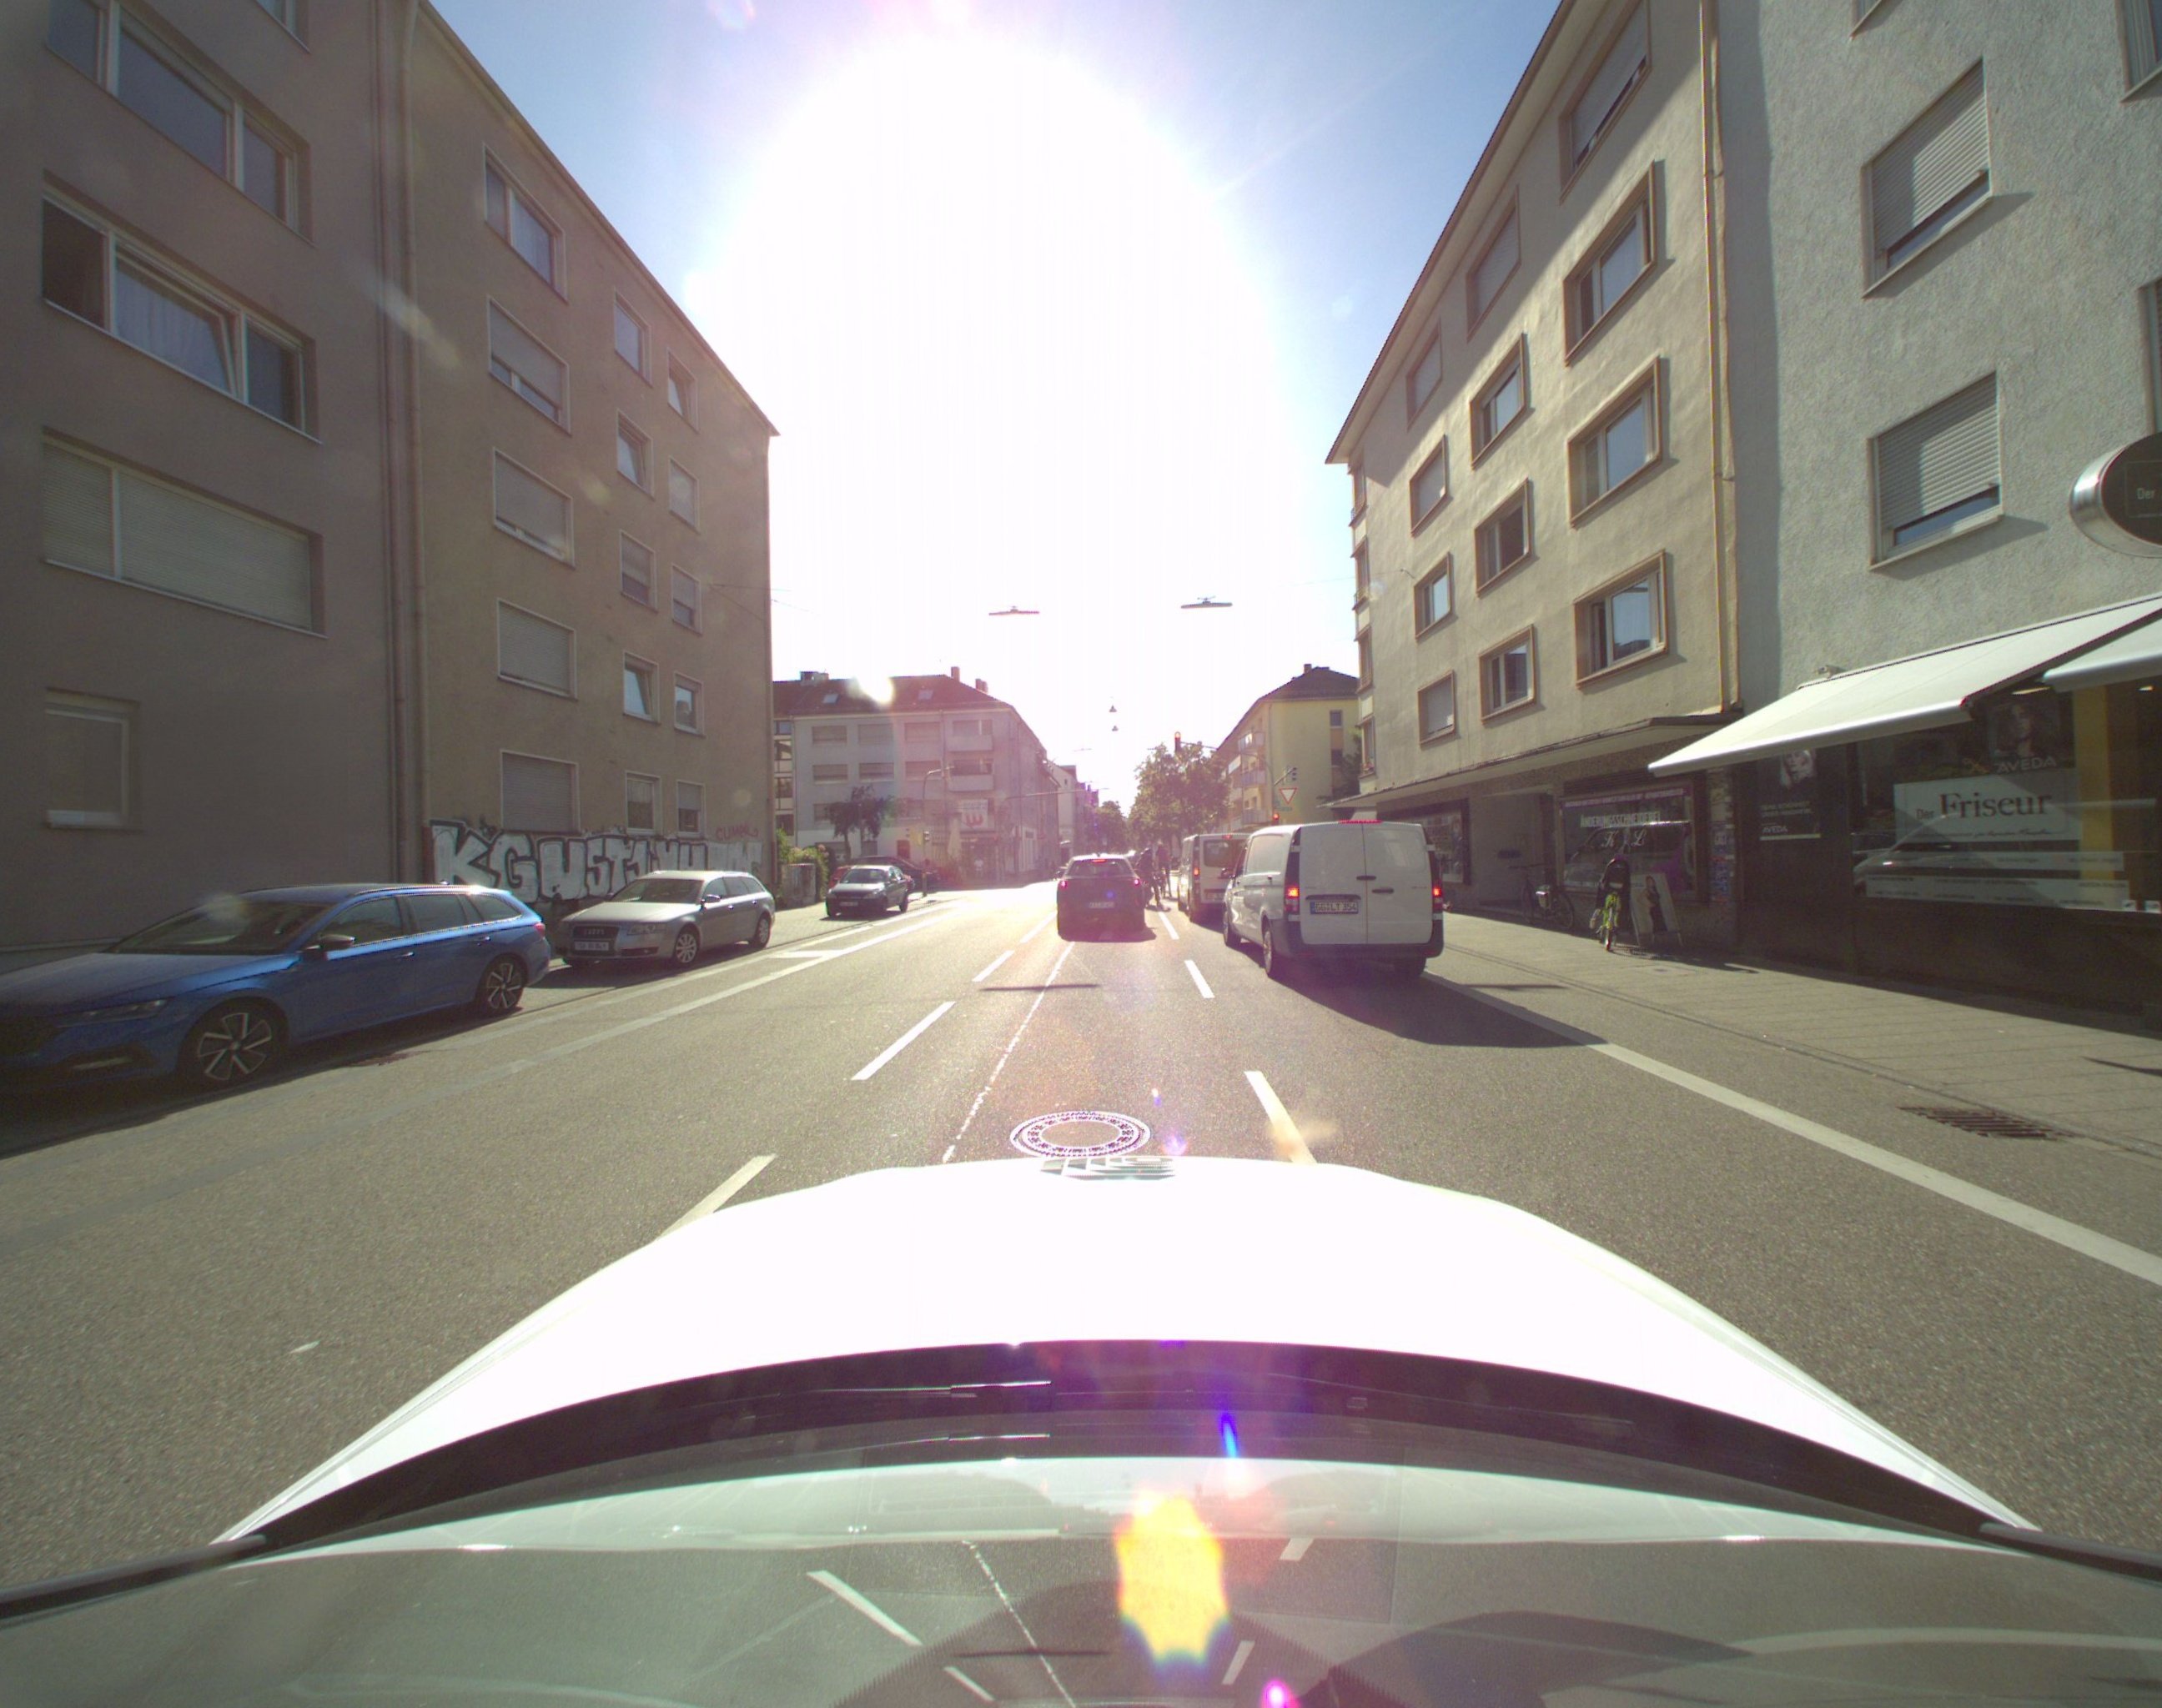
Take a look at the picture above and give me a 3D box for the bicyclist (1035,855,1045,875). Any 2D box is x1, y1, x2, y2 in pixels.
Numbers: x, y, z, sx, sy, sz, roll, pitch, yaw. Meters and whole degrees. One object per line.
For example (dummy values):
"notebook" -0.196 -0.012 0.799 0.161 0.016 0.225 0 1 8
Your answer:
"bicyclist" -2.801 0.730 55.303 0.542 1.381 0.522 0 -1 11

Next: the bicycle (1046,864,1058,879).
"bicycle" -1.980 1.188 55.071 0.532 1.005 1.114 -2 0 11

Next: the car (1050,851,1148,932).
"car" 0.414 0.725 17.681 1.838 1.507 4.002 -2 0 2

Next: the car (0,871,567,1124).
"car" -7.221 0.975 7.592 1.714 1.497 4.629 1 0 3

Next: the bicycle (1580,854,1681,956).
"bicycle" 7.408 0.652 11.032 0.473 1.274 1.219 -5 -1 2

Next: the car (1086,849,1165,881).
"car" 2.506 0.588 45.860 4.012 1.640 1.981 -2 0 -30

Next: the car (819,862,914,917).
"car" -6.286 0.990 24.305 1.647 1.479 4.002 0 0 2

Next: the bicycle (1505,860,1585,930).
"bicycle" 8.081 0.690 14.256 0.521 1.118 1.535 -4 0 3

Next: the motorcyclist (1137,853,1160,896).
"motorcyclist" 1.948 0.576 23.609 0.655 1.227 0.694 0 -1 3

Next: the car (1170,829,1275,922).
"car" 3.267 0.462 19.629 1.809 1.921 4.646 -2 0 2

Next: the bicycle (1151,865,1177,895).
"bicycle" 2.932 0.918 28.811 0.772 0.992 1.718 -2 0 2

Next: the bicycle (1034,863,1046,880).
"bicycle" -2.795 1.167 55.192 0.561 1.085 1.106 -2 0 10

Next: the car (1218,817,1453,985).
"car" 3.210 0.526 11.341 1.977 1.822 4.549 -1 0 2

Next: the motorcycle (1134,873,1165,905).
"motorcycle" 1.958 0.997 23.573 0.804 0.863 1.823 1 0 2

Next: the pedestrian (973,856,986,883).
"pedestrian" -6.200 0.954 49.899 0.681 1.663 0.601 -2 0 1

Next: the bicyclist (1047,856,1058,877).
"bicyclist" -1.941 0.845 55.278 0.566 1.370 0.585 -2 -1 10

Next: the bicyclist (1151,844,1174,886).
"bicyclist" 2.889 0.400 28.939 0.681 1.449 0.940 -2 0 1

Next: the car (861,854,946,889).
"car" -9.101 0.900 41.957 3.975 1.626 1.543 -2 0 -1

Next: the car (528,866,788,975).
"car" -6.858 0.974 13.924 1.770 1.469 4.762 1 0 2

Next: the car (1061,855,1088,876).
"car" -0.417 0.798 57.621 1.611 1.398 3.734 -2 0 3

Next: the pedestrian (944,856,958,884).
"pedestrian" -7.861 0.977 49.290 0.681 1.663 0.601 -2 0 1
